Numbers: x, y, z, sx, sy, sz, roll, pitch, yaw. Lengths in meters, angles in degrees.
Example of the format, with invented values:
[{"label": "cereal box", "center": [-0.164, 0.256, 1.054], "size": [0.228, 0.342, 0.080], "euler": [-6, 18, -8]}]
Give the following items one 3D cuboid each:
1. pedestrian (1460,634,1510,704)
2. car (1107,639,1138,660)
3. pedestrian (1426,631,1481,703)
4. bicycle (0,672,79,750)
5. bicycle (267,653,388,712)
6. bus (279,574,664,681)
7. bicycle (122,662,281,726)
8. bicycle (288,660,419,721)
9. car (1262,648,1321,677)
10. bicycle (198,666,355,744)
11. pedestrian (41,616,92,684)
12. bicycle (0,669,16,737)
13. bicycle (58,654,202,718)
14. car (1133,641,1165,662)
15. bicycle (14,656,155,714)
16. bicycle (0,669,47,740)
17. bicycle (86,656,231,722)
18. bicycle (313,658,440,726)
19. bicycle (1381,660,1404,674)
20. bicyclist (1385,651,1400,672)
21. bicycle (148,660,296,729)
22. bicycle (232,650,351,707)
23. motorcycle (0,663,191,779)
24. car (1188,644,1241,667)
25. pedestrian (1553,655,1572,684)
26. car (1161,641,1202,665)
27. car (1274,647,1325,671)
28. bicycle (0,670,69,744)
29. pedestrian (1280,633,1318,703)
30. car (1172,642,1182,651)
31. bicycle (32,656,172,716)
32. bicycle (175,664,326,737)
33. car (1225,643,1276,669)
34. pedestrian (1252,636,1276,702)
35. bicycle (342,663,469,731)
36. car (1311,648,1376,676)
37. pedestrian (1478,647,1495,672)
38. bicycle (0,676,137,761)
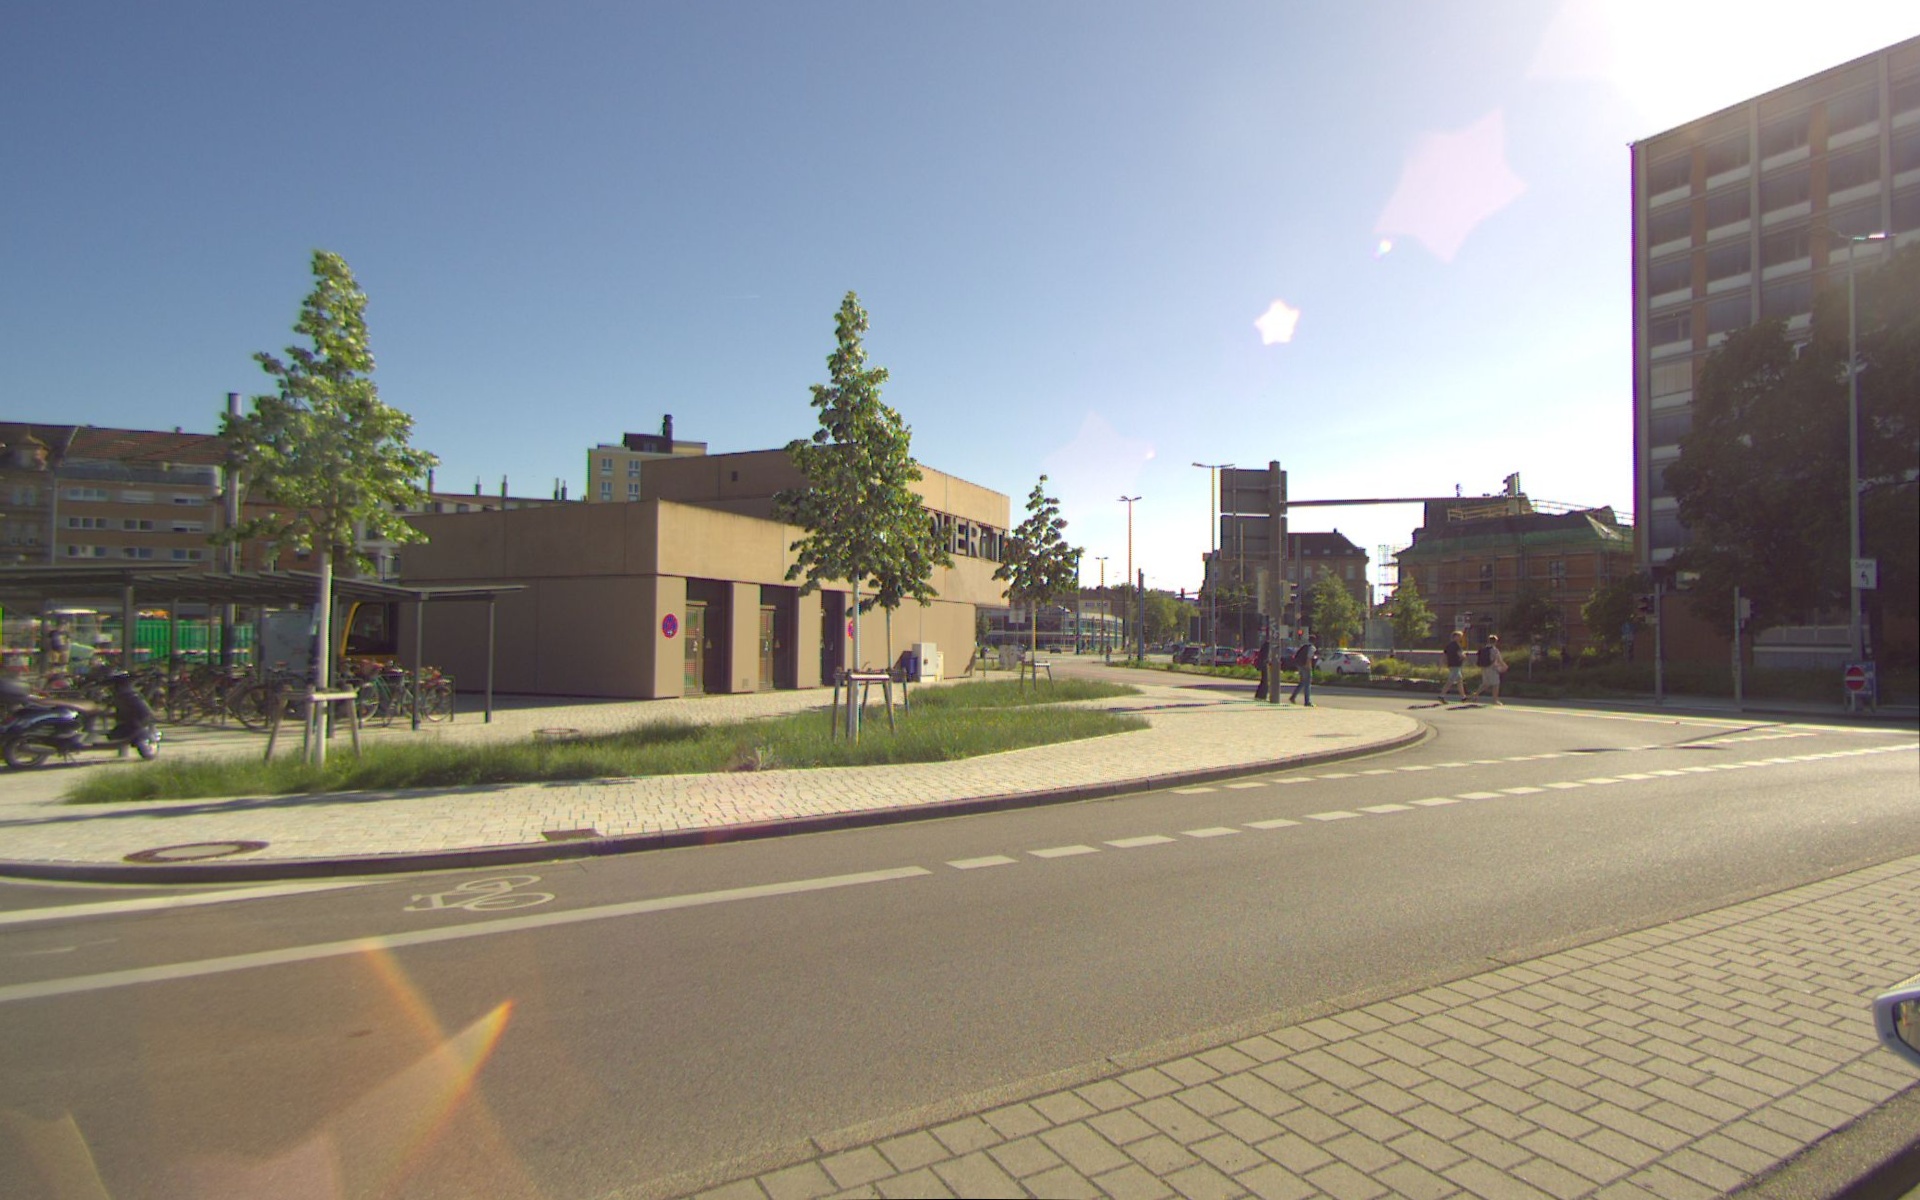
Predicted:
[{"label": "pedestrian", "center": [13.196, 1.743, 25.267], "size": [0.775, 1.711, 0.793], "euler": [2, -5, -13]}, {"label": "car", "center": [13.976, 4.250, 86.703], "size": [1.808, 1.653, 4.387], "euler": [1, -2, -2]}, {"label": "pedestrian", "center": [12.780, 1.743, 26.024], "size": [1.086, 1.822, 0.702], "euler": [3, -5, -20]}, {"label": "bicycle", "center": [-13.233, 1.541, 13.804], "size": [0.399, 0.985, 1.683], "euler": [2, 0, 22]}, {"label": "bicycle", "center": [-12.746, 1.645, 20.320], "size": [0.524, 1.051, 2.070], "euler": [2, 0, 26]}, {"label": "bus", "center": [-16.370, 1.039, 35.844], "size": [2.810, 3.112, 13.620], "euler": [0, -2, 25]}, {"label": "bicycle", "center": [-13.713, 1.675, 18.253], "size": [0.673, 0.956, 2.233], "euler": [2, 0, 25]}, {"label": "bicycle", "center": [-11.766, 1.735, 19.564], "size": [0.679, 1.011, 2.140], "euler": [2, 0, 26]}, {"label": "car", "center": [20.694, 3.868, 62.890], "size": [1.810, 1.653, 4.382], "euler": [1, -2, -8]}, {"label": "bicycle", "center": [-10.907, 1.647, 16.125], "size": [0.524, 1.051, 2.070], "euler": [2, 0, 26]}, {"label": "pedestrian", "center": [-25.992, 1.441, 29.221], "size": [0.755, 1.942, 0.803], "euler": [0, -2, 23]}, {"label": "bicycle", "center": [-14.721, 1.538, 14.416], "size": [0.399, 0.985, 1.683], "euler": [2, 0, 22]}, {"label": "bicycle", "center": [-15.906, 1.621, 19.311], "size": [0.524, 1.051, 2.070], "euler": [5, 1, 26]}, {"label": "car", "center": [16.219, 4.393, 86.307], "size": [1.808, 1.653, 4.387], "euler": [1, -2, -2]}, {"label": "bicycle", "center": [-17.776, 1.694, 20.448], "size": [0.524, 1.051, 2.070], "euler": [5, 0, 26]}, {"label": "bicycle", "center": [-14.204, 1.523, 14.367], "size": [0.399, 0.985, 1.683], "euler": [2, 0, 22]}, {"label": "bicycle", "center": [-15.021, 1.638, 18.897], "size": [0.524, 1.051, 2.070], "euler": [5, 1, 26]}, {"label": "bicycle", "center": [-10.801, 1.681, 18.691], "size": [0.594, 1.093, 2.053], "euler": [2, 0, 25]}, {"label": "bicycle", "center": [31.820, 4.904, 73.889], "size": [0.587, 0.976, 2.081], "euler": [1, -2, -6]}, {"label": "bicyclist", "center": [31.829, 4.520, 73.906], "size": [0.587, 1.448, 0.939], "euler": [1, -2, -6]}, {"label": "bicycle", "center": [-12.902, 1.627, 17.648], "size": [0.524, 1.051, 2.070], "euler": [2, 0, 26]}, {"label": "bicycle", "center": [-13.921, 1.612, 20.984], "size": [0.524, 1.051, 2.070], "euler": [2, 0, 26]}, {"label": "motorcycle", "center": [-10.852, 1.444, 12.468], "size": [0.558, 1.235, 2.087], "euler": [0, -1, 21]}, {"label": "car", "center": [17.261, 3.761, 68.319], "size": [1.810, 1.406, 4.895], "euler": [1, -2, -8]}, {"label": "pedestrian", "center": [33.752, 3.878, 56.301], "size": [0.587, 1.624, 0.739], "euler": [1, -2, -5]}, {"label": "car", "center": [16.513, 3.935, 75.118], "size": [1.809, 1.653, 4.386], "euler": [1, -2, -4]}, {"label": "car", "center": [25.611, 4.437, 75.946], "size": [1.809, 1.653, 4.836], "euler": [1, -2, -6]}, {"label": "bicycle", "center": [-13.699, 1.529, 14.165], "size": [0.399, 0.985, 1.683], "euler": [2, 0, 22]}, {"label": "pedestrian", "center": [8.513, 1.716, 25.245], "size": [0.887, 1.711, 0.841], "euler": [0, -5, 17]}, {"label": "car", "center": [42.927, 9.133, 198.954], "size": [1.959, 1.684, 4.003], "euler": [0, -2, 11]}, {"label": "bicycle", "center": [-16.887, 1.674, 19.840], "size": [0.524, 1.051, 2.070], "euler": [-2, -2, 26]}, {"label": "bicycle", "center": [-11.917, 1.653, 16.955], "size": [0.524, 1.051, 2.070], "euler": [2, 0, 26]}, {"label": "car", "center": [20.031, 3.836, 69.427], "size": [1.810, 1.653, 4.382], "euler": [1, -2, -8]}, {"label": "pedestrian", "center": [8.172, 1.853, 27.015], "size": [0.585, 1.751, 0.580], "euler": [0, -2, 14]}, {"label": "bicycle", "center": [-9.971, 1.718, 18.153], "size": [0.524, 1.051, 2.070], "euler": [2, 0, 26]}, {"label": "car", "center": [21.285, 3.433, 55.880], "size": [1.711, 1.454, 3.843], "euler": [1, -2, -10]}, {"label": "pedestrian", "center": [33.312, 3.771, 63.561], "size": [0.548, 1.592, 0.862], "euler": [1, -2, -2]}, {"label": "bicycle", "center": [-12.206, 1.571, 13.570], "size": [0.399, 0.985, 1.683], "euler": [2, 0, 22]}]
